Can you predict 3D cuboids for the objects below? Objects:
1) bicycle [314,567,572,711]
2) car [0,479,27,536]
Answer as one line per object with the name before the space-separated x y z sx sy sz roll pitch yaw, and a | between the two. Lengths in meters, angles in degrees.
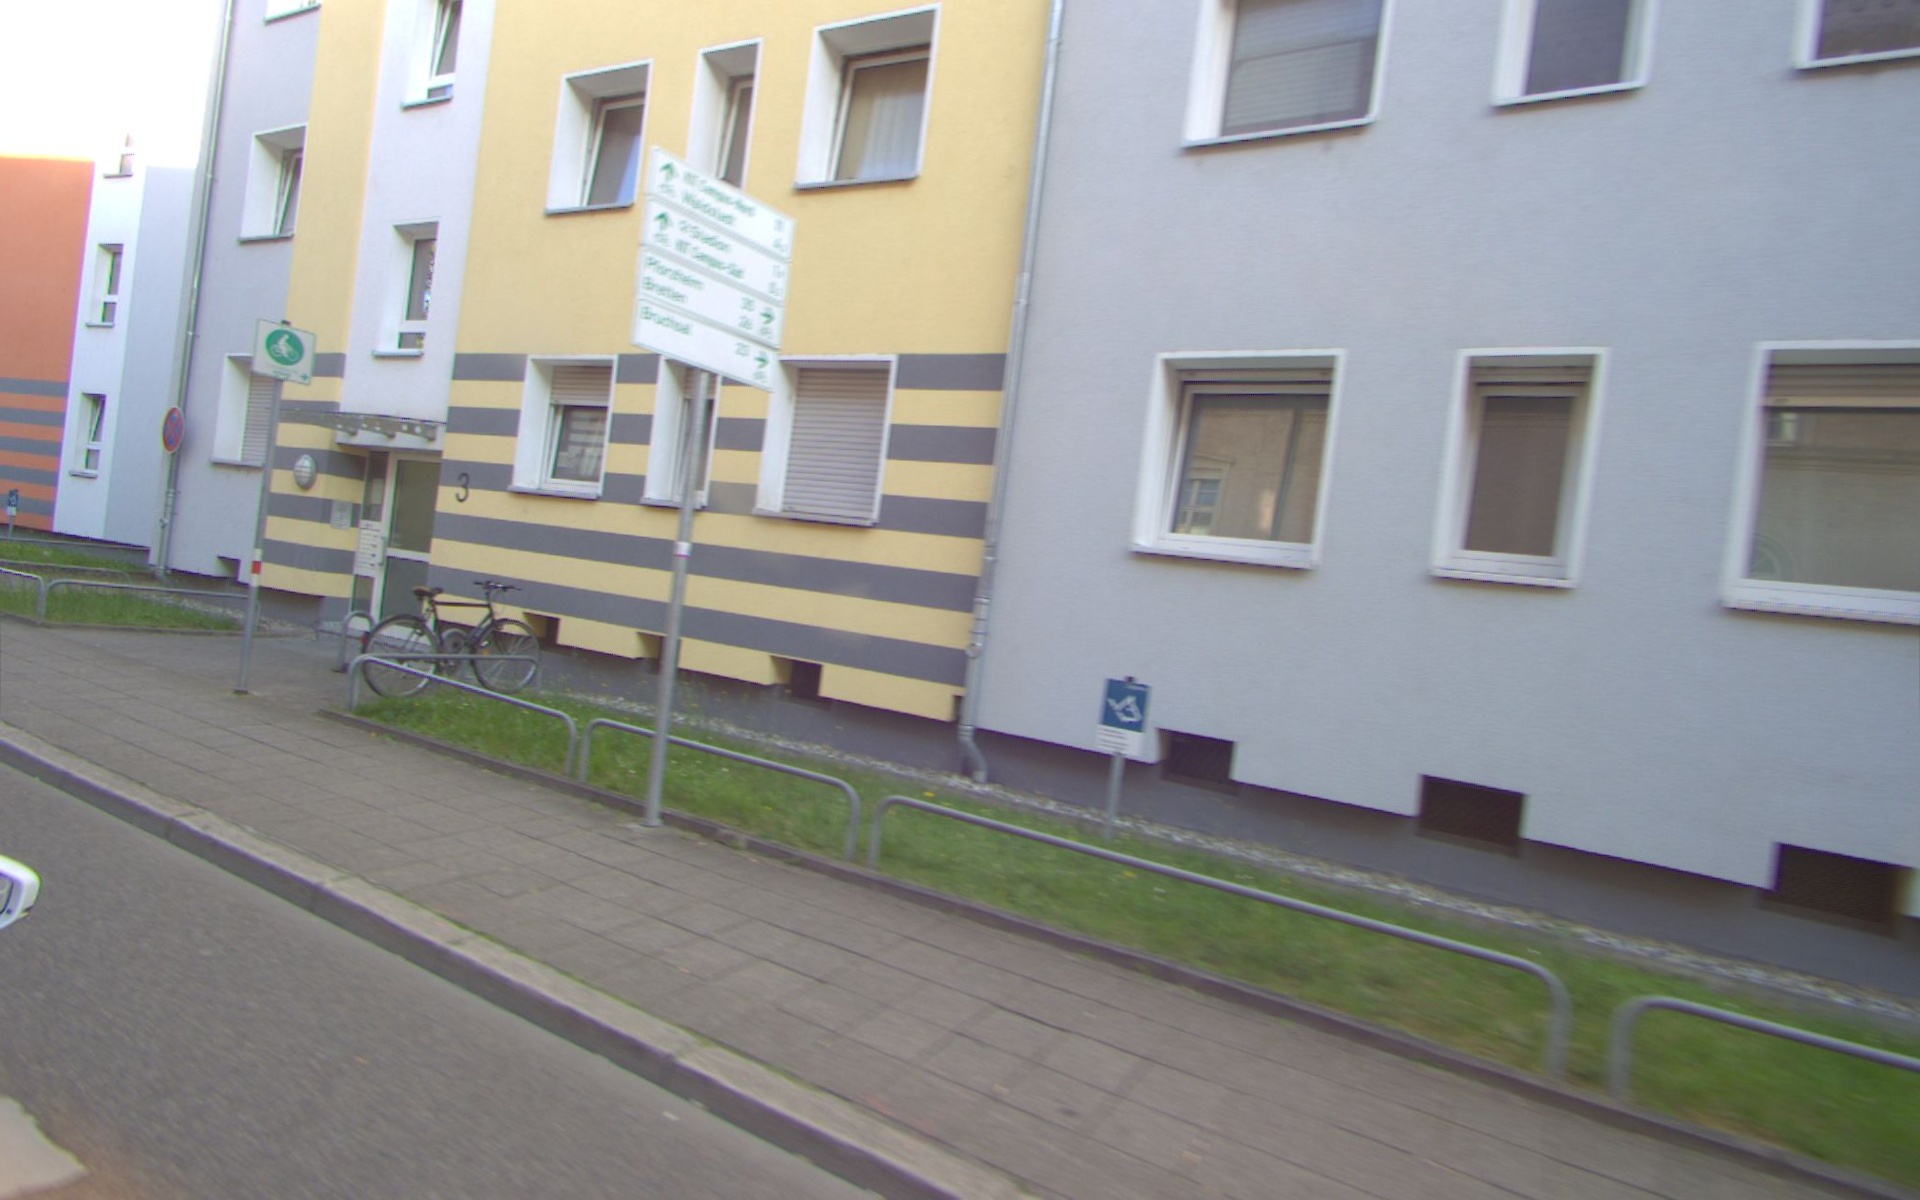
bicycle | -4.457 0.350 8.852 0.625 1.074 1.947 8 1 26
car | -32.022 -3.146 30.742 1.767 1.728 4.772 7 0 23
